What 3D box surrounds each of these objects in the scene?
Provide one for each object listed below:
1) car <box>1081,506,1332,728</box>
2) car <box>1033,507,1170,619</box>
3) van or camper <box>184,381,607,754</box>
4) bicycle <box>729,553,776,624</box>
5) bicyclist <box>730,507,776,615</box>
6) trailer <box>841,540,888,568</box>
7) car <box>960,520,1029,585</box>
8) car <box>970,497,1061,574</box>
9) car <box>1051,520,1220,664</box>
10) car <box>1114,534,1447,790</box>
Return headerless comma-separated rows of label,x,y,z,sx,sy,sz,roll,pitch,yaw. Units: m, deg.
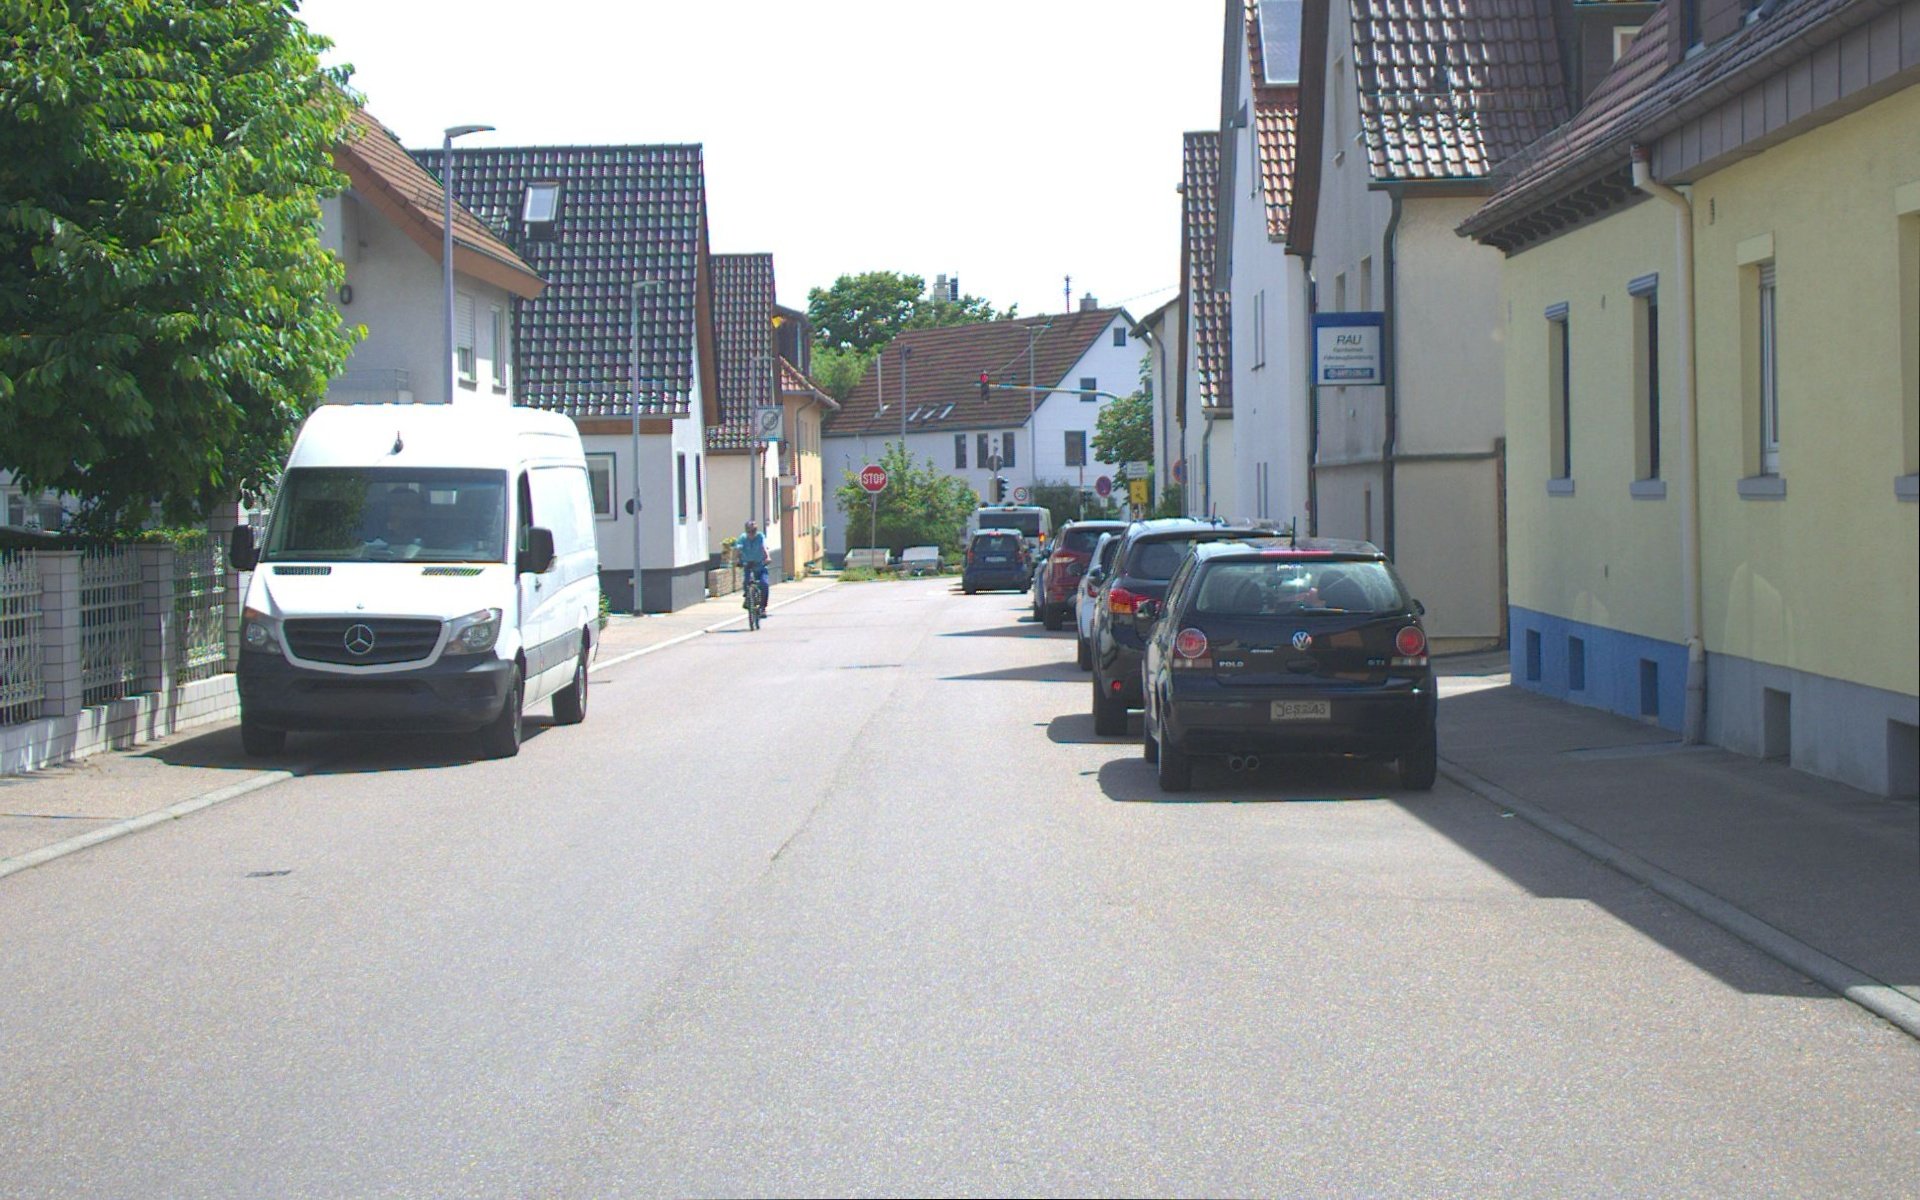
car,1.844,0.074,26.806,1.728,1.594,4.253,0,1,1
car,2.177,-0.606,53.868,1.875,1.694,4.184,0,1,-1
van or camper,-4.222,-0.302,27.016,2.184,2.563,6.807,0,1,0
bicycle,-3.451,-0.202,57.379,0.670,1.128,2.189,0,1,-1
bicyclist,-3.462,-0.658,57.424,0.713,1.792,0.942,-1,1,-1
trailer,-3.181,-1.541,114.809,1.502,0.924,1.012,1,1,2
car,0.866,-1.187,84.986,1.516,1.561,3.184,0,1,4
car,1.620,-1.868,99.066,2.129,2.151,4.735,-1,1,7
car,1.938,-0.120,38.745,1.673,1.553,3.040,0,1,-1
car,1.892,0.313,21.251,1.610,1.426,3.754,0,1,-1
